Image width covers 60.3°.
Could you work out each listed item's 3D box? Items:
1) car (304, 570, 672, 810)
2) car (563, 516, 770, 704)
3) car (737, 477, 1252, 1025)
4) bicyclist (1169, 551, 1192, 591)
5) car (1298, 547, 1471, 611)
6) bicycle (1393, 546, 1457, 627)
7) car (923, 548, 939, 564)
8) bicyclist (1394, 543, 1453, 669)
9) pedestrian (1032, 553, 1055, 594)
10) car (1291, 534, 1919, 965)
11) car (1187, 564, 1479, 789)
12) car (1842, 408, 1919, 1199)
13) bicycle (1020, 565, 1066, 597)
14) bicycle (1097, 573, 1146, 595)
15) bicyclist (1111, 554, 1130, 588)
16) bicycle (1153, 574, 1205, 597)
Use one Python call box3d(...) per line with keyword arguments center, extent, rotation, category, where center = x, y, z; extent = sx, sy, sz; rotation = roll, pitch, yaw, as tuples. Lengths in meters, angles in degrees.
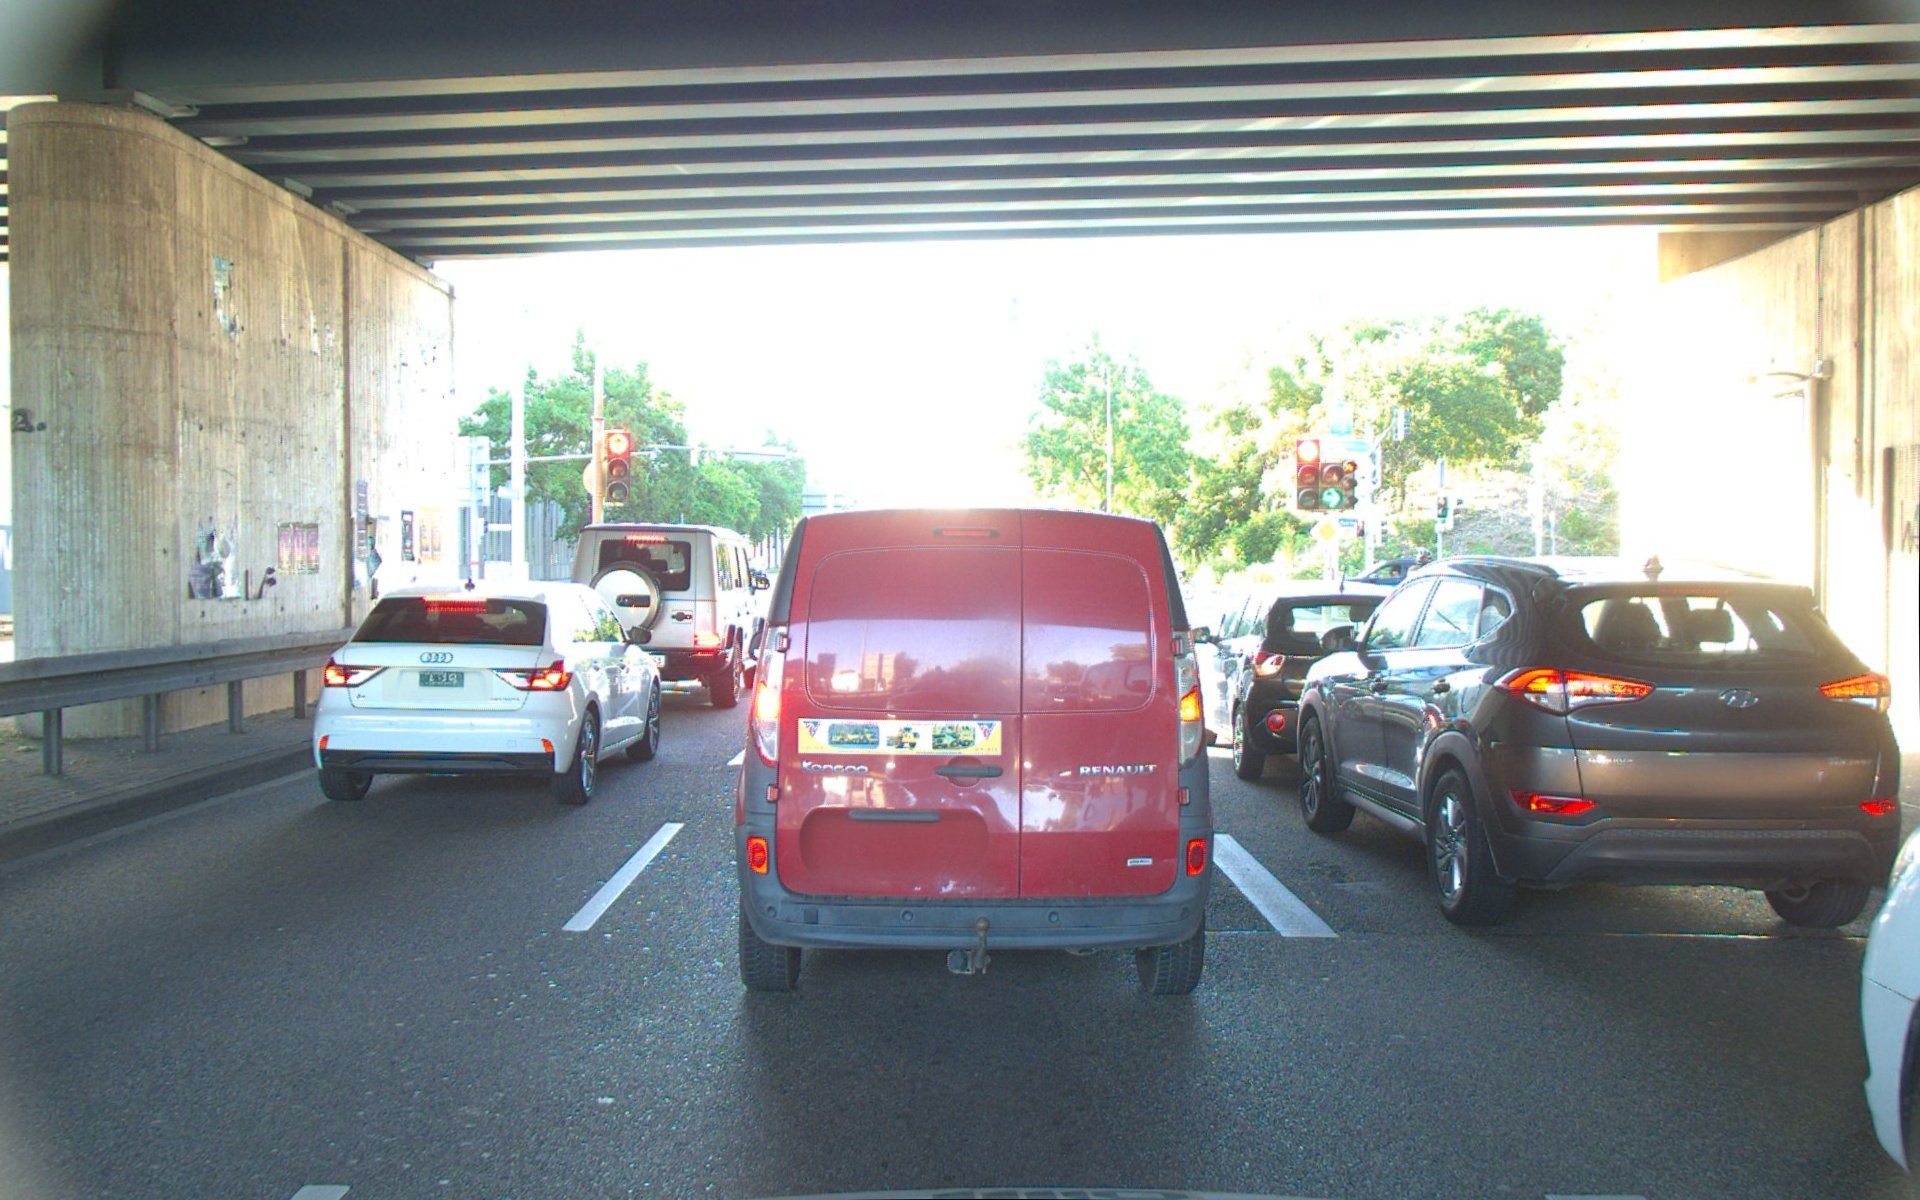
box3d(center=(-3.199, 0.528, 11.952), extent=(1.658, 1.434, 3.812), rotation=(1, 1, -2), category="car")
box3d(center=(-3.285, 0.088, 19.185), extent=(1.777, 1.937, 3.812), rotation=(1, 1, -1), category="car")
box3d(center=(0.095, 0.485, 7.488), extent=(1.684, 1.795, 4.000), rotation=(1, 1, -1), category="car")
box3d(center=(8.677, -1.134, 65.090), extent=(0.741, 1.569, 0.695), rotation=(0, 0, -11), category="bicyclist")
box3d(center=(11.834, -0.570, 46.235), extent=(4.261, 1.635, 1.998), rotation=(1, 0, -4), category="car")
box3d(center=(6.221, -0.176, 22.198), extent=(0.662, 1.042, 1.530), rotation=(1, 0, 10), category="bicycle")
box3d(center=(-3.868, -5.891, 221.176), extent=(1.953, 2.049, 3.999), rotation=(1, 0, -1), category="car")
box3d(center=(6.214, 0.075, 22.189), extent=(0.663, 1.657, 0.644), rotation=(1, 0, 10), category="bicyclist")
box3d(center=(3.228, -1.028, 64.158), extent=(0.820, 1.581, 0.556), rotation=(0, 0, -7), category="pedestrian")
box3d(center=(3.066, 0.572, 8.574), extent=(1.742, 1.684, 3.989), rotation=(1, 1, -2), category="car")
box3d(center=(2.965, 0.509, 13.904), extent=(1.618, 1.579, 3.865), rotation=(1, 1, 1), category="car")
box3d(center=(3.051, 0.572, 1.763), extent=(1.777, 1.865, 4.299), rotation=(1, 1, -2), category="car")
box3d(center=(3.217, -0.732, 64.155), extent=(1.696, 1.254, 0.557), rotation=(0, 0, -7), category="bicycle")
box3d(center=(6.455, -0.651, 66.123), extent=(1.875, 0.882, 0.605), rotation=(0, 0, -5), category="bicycle")
box3d(center=(6.414, -1.166, 66.107), extent=(0.640, 1.352, 0.602), rotation=(1, 0, -4), category="bicyclist")
box3d(center=(8.602, -0.566, 65.069), extent=(1.918, 0.889, 0.697), rotation=(0, 0, -12), category="bicycle")
